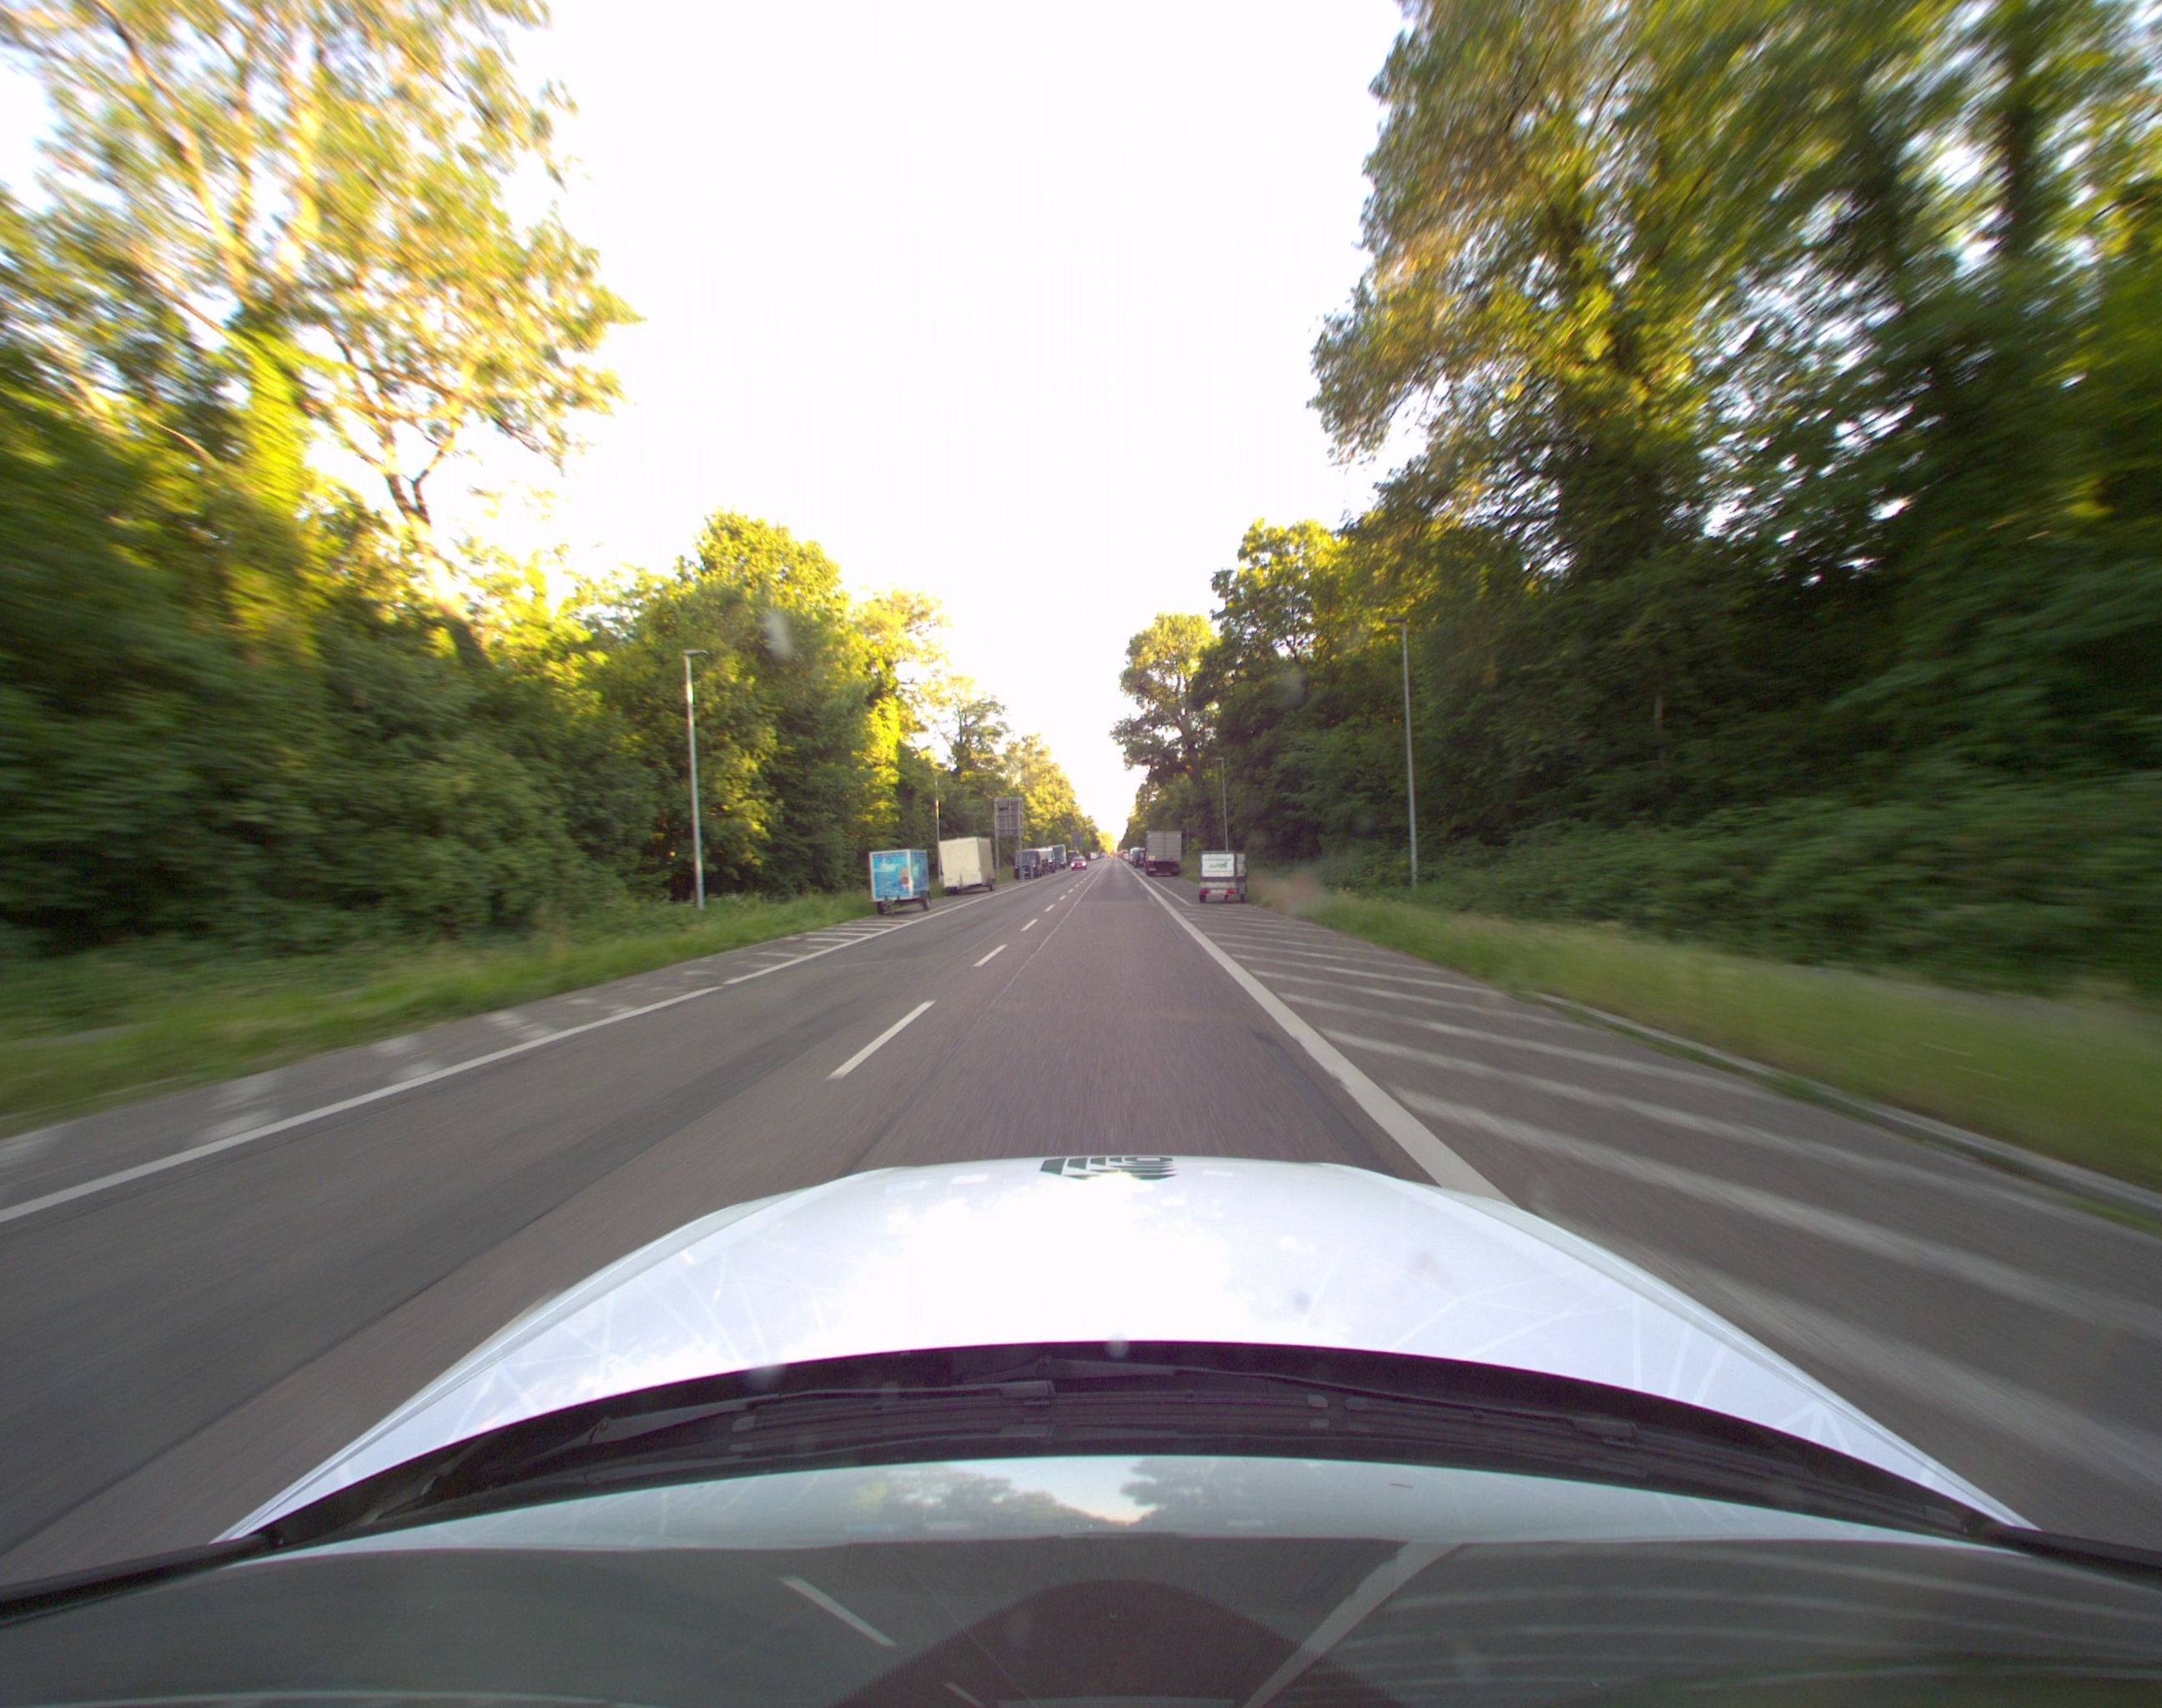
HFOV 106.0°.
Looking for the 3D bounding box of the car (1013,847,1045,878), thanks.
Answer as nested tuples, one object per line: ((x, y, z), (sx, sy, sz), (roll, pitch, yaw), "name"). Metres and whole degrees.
((-4.364, 0.727, 69.237), (1.986, 2.364, 5.768), (-5, 0, 2), "car")

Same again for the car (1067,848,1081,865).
((-1.201, 0.456, 145.866), (2.178, 2.788, 5.337), (-4, 0, 2), "car")

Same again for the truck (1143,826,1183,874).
((5.891, -0.256, 59.194), (2.577, 3.255, 7.227), (-1, 0, 4), "truck")

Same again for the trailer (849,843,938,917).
((-6.140, 0.812, 27.204), (1.811, 2.167, 4.144), (-3, 0, 1), "trailer")

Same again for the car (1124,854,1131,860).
((10.788, 0.678, 190.214), (1.422, 1.222, 3.413), (-5, 0, 2), "car")

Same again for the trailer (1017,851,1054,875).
((-4.485, 0.899, 80.147), (1.945, 2.155, 3.952), (-3, 0, 23), "trailer")

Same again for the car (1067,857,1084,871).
((-0.584, 1.155, 93.396), (1.676, 1.486, 4.039), (-3, 0, 2), "car")

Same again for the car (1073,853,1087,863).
((-0.106, 0.890, 175.557), (1.685, 2.013, 4.021), (-1, 0, 21), "car")

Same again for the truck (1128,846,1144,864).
((8.389, 0.148, 125.336), (2.134, 2.659, 4.299), (-1, 0, 0), "truck")

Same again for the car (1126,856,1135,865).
((8.034, 1.044, 131.593), (1.143, 1.251, 2.753), (-4, 0, 0), "car")

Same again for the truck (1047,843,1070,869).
((-3.084, 0.288, 111.131), (2.494, 3.328, 6.845), (-4, 0, 2), "truck")

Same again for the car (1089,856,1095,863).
((3.419, 1.636, 253.373), (1.987, 2.014, 3.998), (-3, -2, 0), "car")

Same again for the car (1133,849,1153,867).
((7.049, 0.463, 92.989), (1.987, 1.955, 4.299), (-1, 0, 0), "car")

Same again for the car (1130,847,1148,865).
((8.023, 0.253, 112.245), (2.134, 2.313, 4.299), (-1, 0, 0), "car")

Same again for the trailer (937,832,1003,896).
((-5.748, 0.489, 42.819), (2.317, 2.924, 5.629), (-5, 0, 1), "trailer")

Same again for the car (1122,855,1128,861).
((11.208, 0.998, 207.109), (1.639, 1.486, 4.002), (-1, 0, 2), "car")

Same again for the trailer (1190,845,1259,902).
((4.788, 0.596, 26.791), (1.443, 1.662, 3.797), (-3, 0, 21), "trailer")

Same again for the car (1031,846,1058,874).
((-3.797, 0.614, 85.662), (2.241, 2.647, 5.724), (-4, 0, 2), "car")
